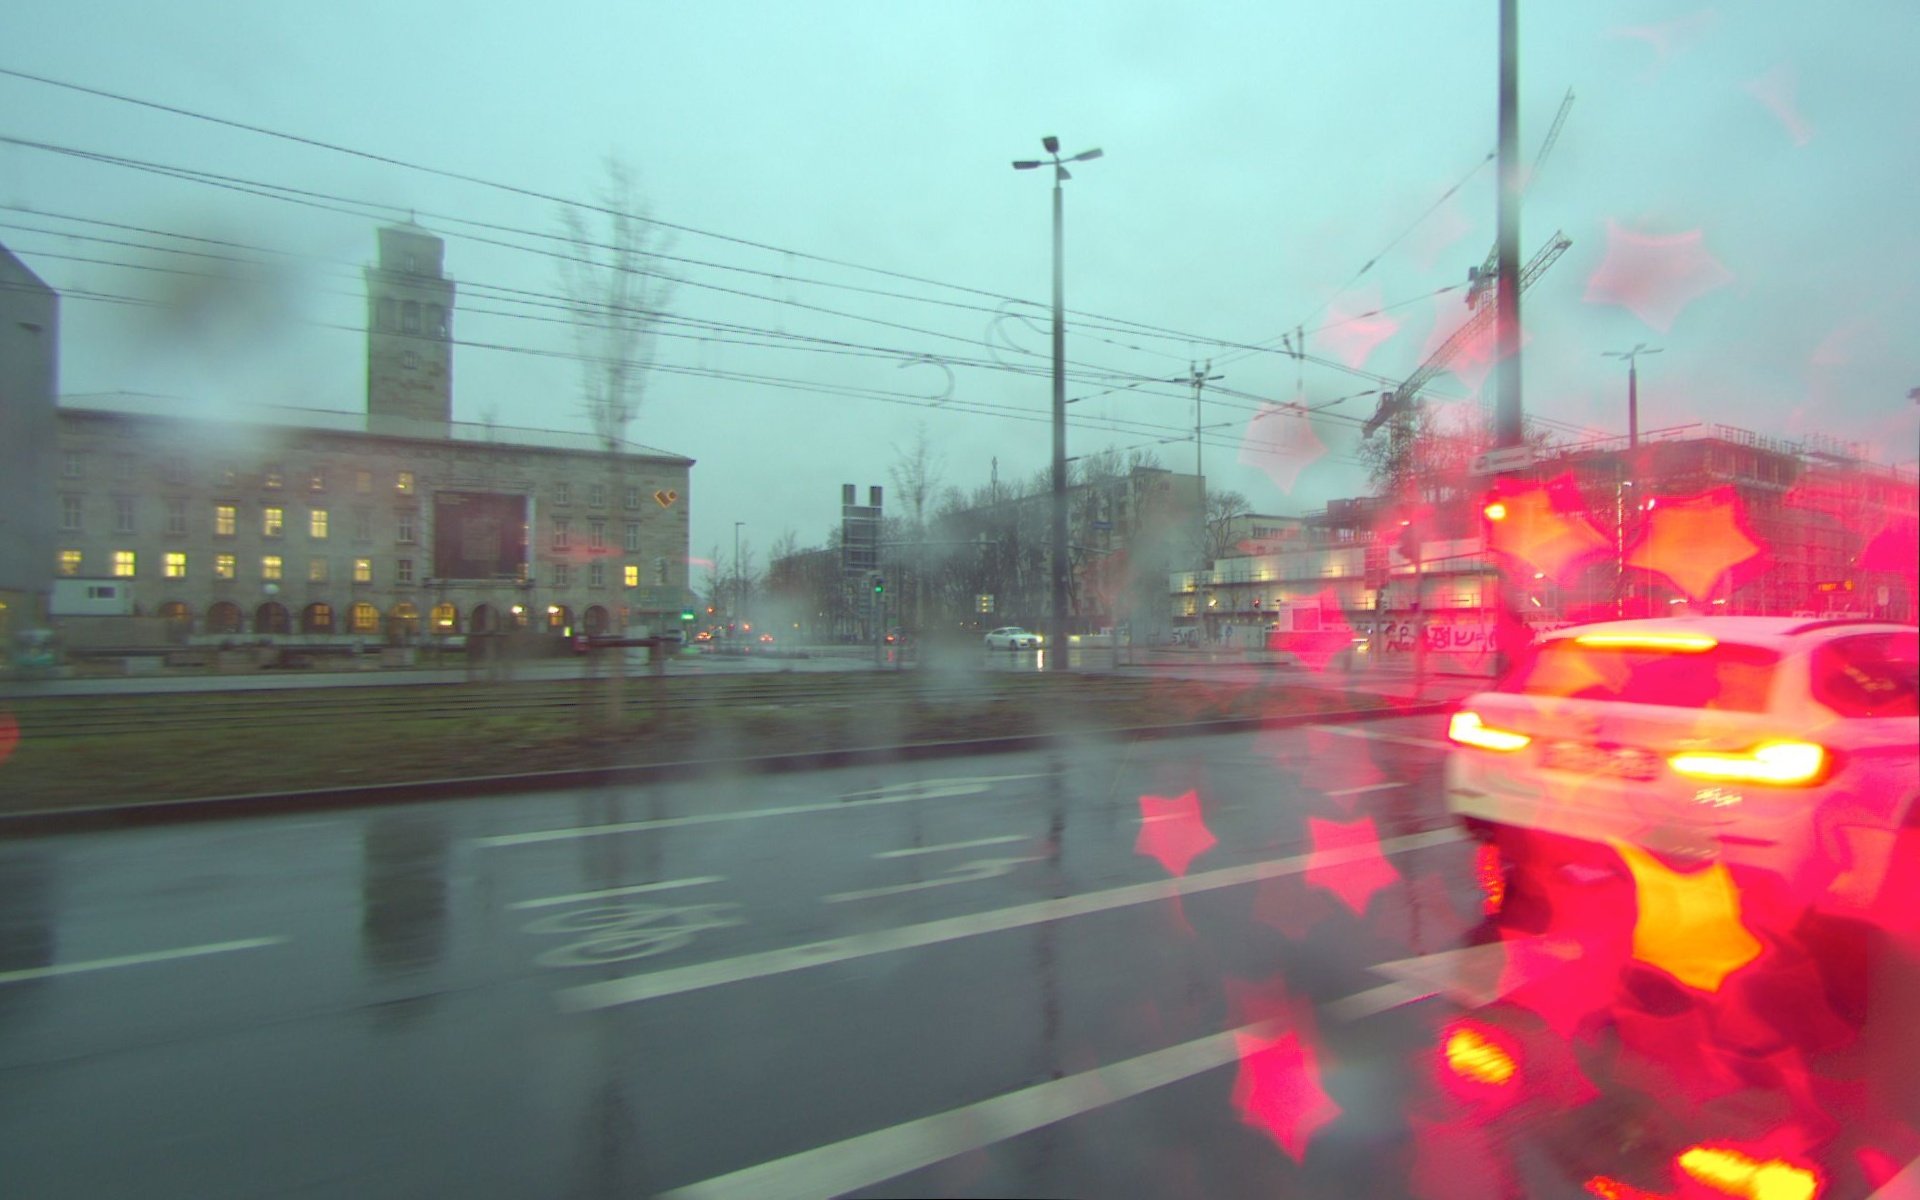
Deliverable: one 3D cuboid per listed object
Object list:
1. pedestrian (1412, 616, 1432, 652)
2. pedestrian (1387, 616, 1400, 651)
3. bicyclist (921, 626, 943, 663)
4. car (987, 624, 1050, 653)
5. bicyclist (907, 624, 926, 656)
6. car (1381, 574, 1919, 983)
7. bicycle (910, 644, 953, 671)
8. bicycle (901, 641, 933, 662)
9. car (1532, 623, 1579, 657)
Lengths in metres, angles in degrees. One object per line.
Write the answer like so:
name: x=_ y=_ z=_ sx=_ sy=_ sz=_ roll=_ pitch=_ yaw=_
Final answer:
pedestrian: x=27.103 y=1.980 z=58.936 sx=0.741 sy=2.039 sz=0.786 roll=5 pitch=-4 yaw=-39
pedestrian: x=25.737 y=2.010 z=59.655 sx=0.635 sy=2.039 sz=0.503 roll=5 pitch=-5 yaw=-39
bicyclist: x=-1.454 y=2.291 z=51.792 sx=0.714 sy=1.863 sz=0.986 roll=1 pitch=-2 yaw=-38
car: x=3.599 y=2.373 z=62.241 sx=1.978 sy=1.706 sz=3.966 roll=1 pitch=-2 yaw=-32
bicyclist: x=-2.359 y=2.160 z=54.647 sx=0.611 sy=1.719 sz=1.026 roll=1 pitch=-2 yaw=-35
car: x=4.844 y=0.729 z=5.879 sx=4.867 sy=1.540 sz=1.900 roll=1 pitch=-2 yaw=-31
bicycle: x=-1.491 y=2.949 z=51.887 sx=0.714 sy=1.380 sz=2.810 roll=1 pitch=-3 yaw=-38
bicycle: x=-2.356 y=2.793 z=54.620 sx=0.611 sy=1.046 sz=2.357 roll=1 pitch=-2 yaw=-35
car: x=36.503 y=2.426 z=61.565 sx=1.736 sy=2.040 sz=3.978 roll=-1 pitch=-2 yaw=42
